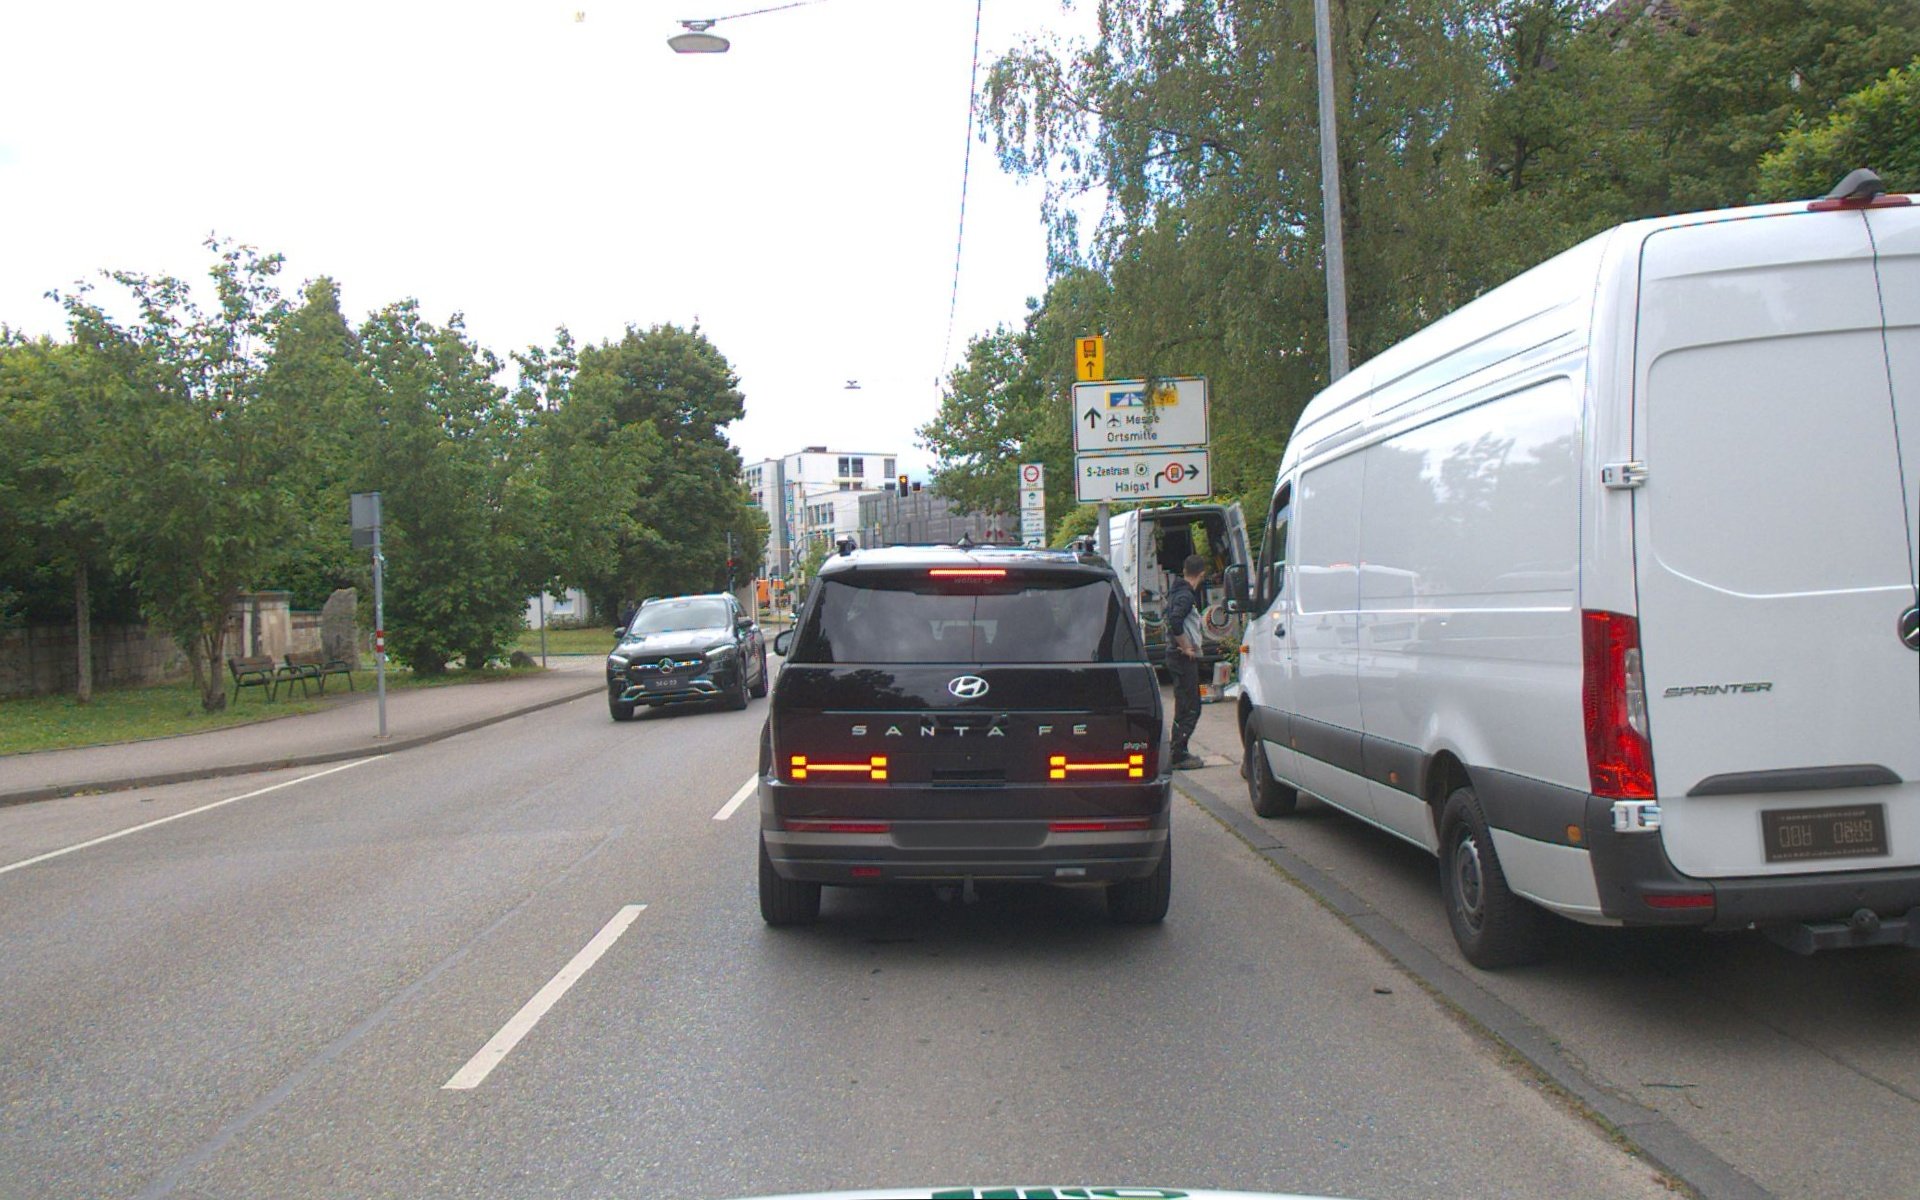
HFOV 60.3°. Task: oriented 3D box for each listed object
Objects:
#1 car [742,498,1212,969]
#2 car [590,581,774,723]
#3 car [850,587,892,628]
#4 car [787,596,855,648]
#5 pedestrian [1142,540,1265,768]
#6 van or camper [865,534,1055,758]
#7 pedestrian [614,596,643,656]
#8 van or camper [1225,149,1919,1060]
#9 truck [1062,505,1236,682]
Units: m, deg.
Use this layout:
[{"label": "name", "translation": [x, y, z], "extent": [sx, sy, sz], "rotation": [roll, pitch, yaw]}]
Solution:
[{"label": "car", "translation": [0.041, 0.517, 8.536], "extent": [1.851, 1.851, 3.999], "rotation": [0, 0, -1]}, {"label": "car", "translation": [-3.798, 0.656, 23.338], "extent": [1.822, 1.686, 4.305], "rotation": [-4, 0, -1]}, {"label": "car", "translation": [-4.070, 0.331, 76.202], "extent": [1.749, 1.682, 4.118], "rotation": [-4, 0, -2]}, {"label": "car", "translation": [-4.467, 0.694, 53.639], "extent": [1.822, 1.478, 4.110], "rotation": [-4, 0, -1]}, {"label": "pedestrian", "translation": [2.028, 0.436, 13.862], "extent": [0.852, 1.828, 0.759], "rotation": [-2, 0, -2]}, {"label": "van or camper", "translation": [-0.030, 0.424, 17.479], "extent": [1.719, 2.049, 3.999], "rotation": [-2, 0, -1]}, {"label": "pedestrian", "translation": [-9.725, 0.757, 48.501], "extent": [0.724, 1.745, 0.791], "rotation": [-2, 0, -8]}, {"label": "van or camper", "translation": [2.893, -0.017, 8.175], "extent": [1.953, 2.665, 6.540], "rotation": [-2, 0, -1]}, {"label": "truck", "translation": [3.075, -0.088, 28.088], "extent": [1.904, 2.606, 5.212], "rotation": [-3, 0, -4]}]
